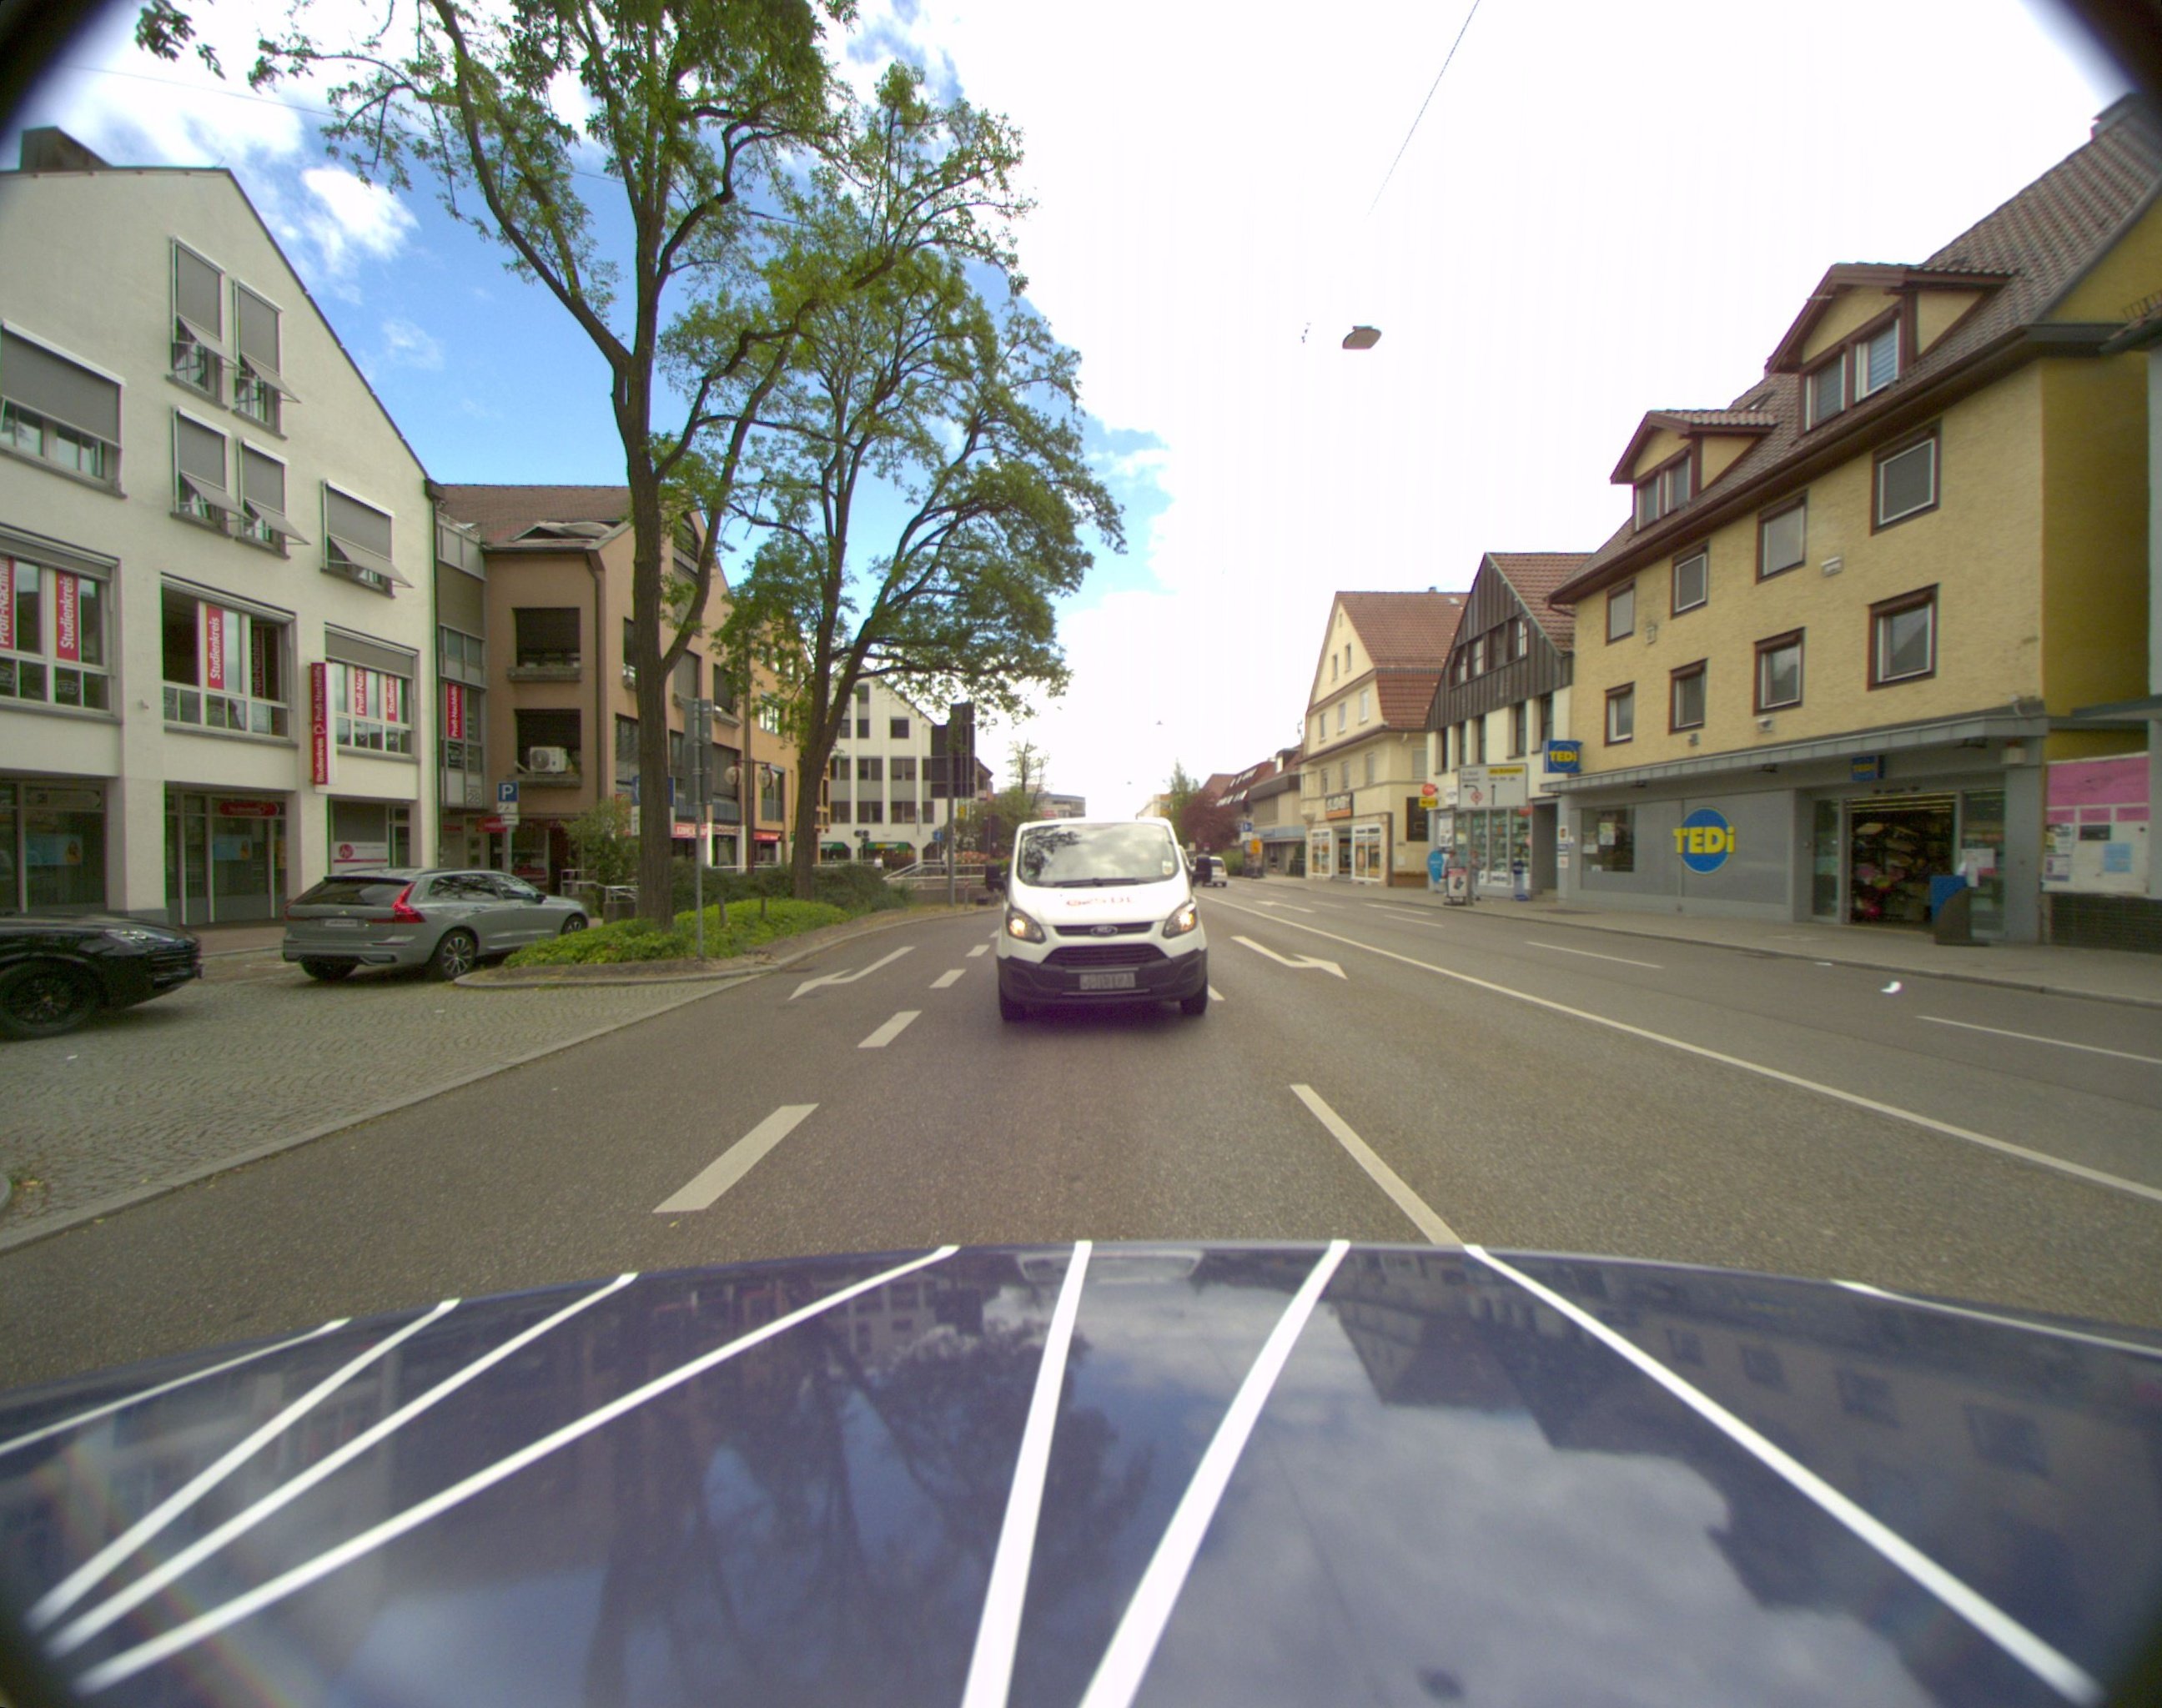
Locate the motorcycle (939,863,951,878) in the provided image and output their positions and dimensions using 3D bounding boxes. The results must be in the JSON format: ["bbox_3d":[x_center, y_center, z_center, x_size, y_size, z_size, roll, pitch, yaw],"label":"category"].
[{"bbox_3d":[-9.772,1.180,54.744,0.464,1.062,1.995,-1,0,0],"label":"motorcycle"}]

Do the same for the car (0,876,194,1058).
[{"bbox_3d":[-11.710,1.086,6.934,1.853,1.660,4.673,1,0,41],"label":"car"}]

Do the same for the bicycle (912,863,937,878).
[{"bbox_3d":[-10.277,1.057,49.941,1.594,0.963,0.461,-1,1,-14],"label":"bicycle"}]

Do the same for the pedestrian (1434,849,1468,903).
[{"bbox_3d":[11.845,0.698,24.323,0.689,1.680,0.742,-2,1,0],"label":"pedestrian"}]

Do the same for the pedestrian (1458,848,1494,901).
[{"bbox_3d":[12.754,0.663,24.554,0.689,1.660,0.709,-3,1,0],"label":"pedestrian"}]

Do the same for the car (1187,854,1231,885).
[{"bbox_3d":[6.334,0.742,37.923,1.578,1.480,3.464,0,0,0],"label":"car"}]

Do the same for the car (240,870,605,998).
[{"bbox_3d":[-10.298,1.115,12.560,1.999,1.586,4.762,0,0,-2],"label":"car"}]

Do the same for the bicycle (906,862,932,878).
[{"bbox_3d":[-10.489,1.058,49.125,1.594,0.996,0.414,-1,1,-13],"label":"bicycle"}]

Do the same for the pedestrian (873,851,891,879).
[{"bbox_3d":[-12.946,0.704,49.458,0.871,1.812,0.785,-2,1,-4],"label":"pedestrian"}]

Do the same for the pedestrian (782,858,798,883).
[{"bbox_3d":[-20.563,1.150,53.755,0.887,1.747,0.943,-1,0,-11],"label":"pedestrian"}]

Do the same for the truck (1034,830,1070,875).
[{"bbox_3d":[-2.325,-0.161,64.200,2.446,3.464,8.347,-2,1,1],"label":"truck"}]

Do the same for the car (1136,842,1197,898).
[{"bbox_3d":[3.163,0.556,29.001,1.830,1.948,4.852,-1,0,1],"label":"car"}]

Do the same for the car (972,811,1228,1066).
[{"bbox_3d":[0.160,0.674,8.669,1.964,1.948,5.164,-3,0,0],"label":"car"}]

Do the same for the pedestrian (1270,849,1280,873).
[{"bbox_3d":[15.417,0.525,60.413,0.551,1.878,0.592,-2,1,-4],"label":"pedestrian"}]
